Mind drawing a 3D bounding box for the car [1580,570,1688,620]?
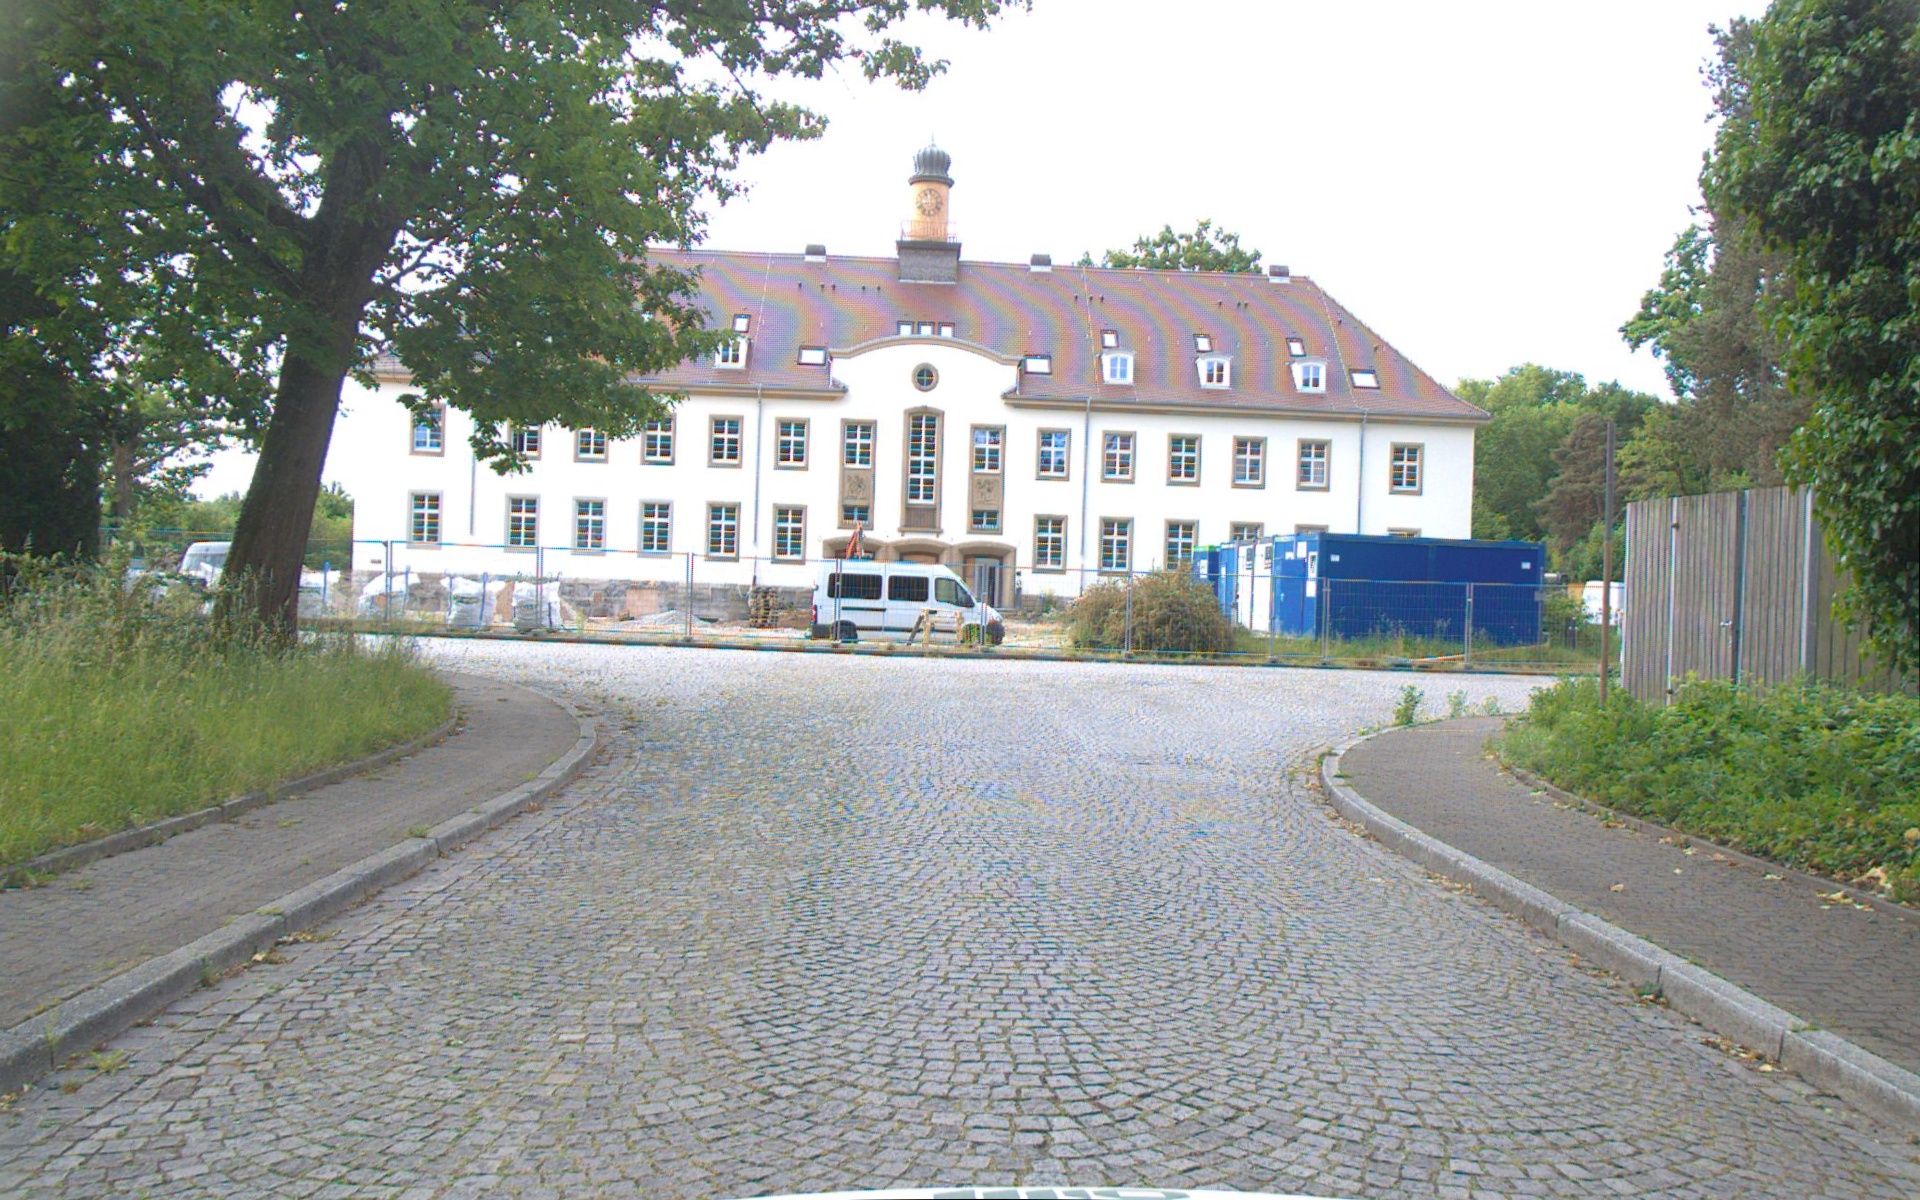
[{"bbox_3d":[29.816,-0.223,73.124,5.355,2.078,1.744,1,0,-34],"label":"car"}]

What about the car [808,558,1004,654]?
[{"bbox_3d":[-1.447,0.150,45.003,5.156,2.385,1.910,2,0,-1],"label":"car"}]

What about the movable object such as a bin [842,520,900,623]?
[{"bbox_3d":[-3.549,-1.082,65.302,1.955,3.837,5.311,2,0,-6],"label":"movable object such as a bin"}]

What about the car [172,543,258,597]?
[{"bbox_3d":[-31.738,-1.264,70.594,2.029,2.188,4.890,2,0,-8],"label":"car"}]
